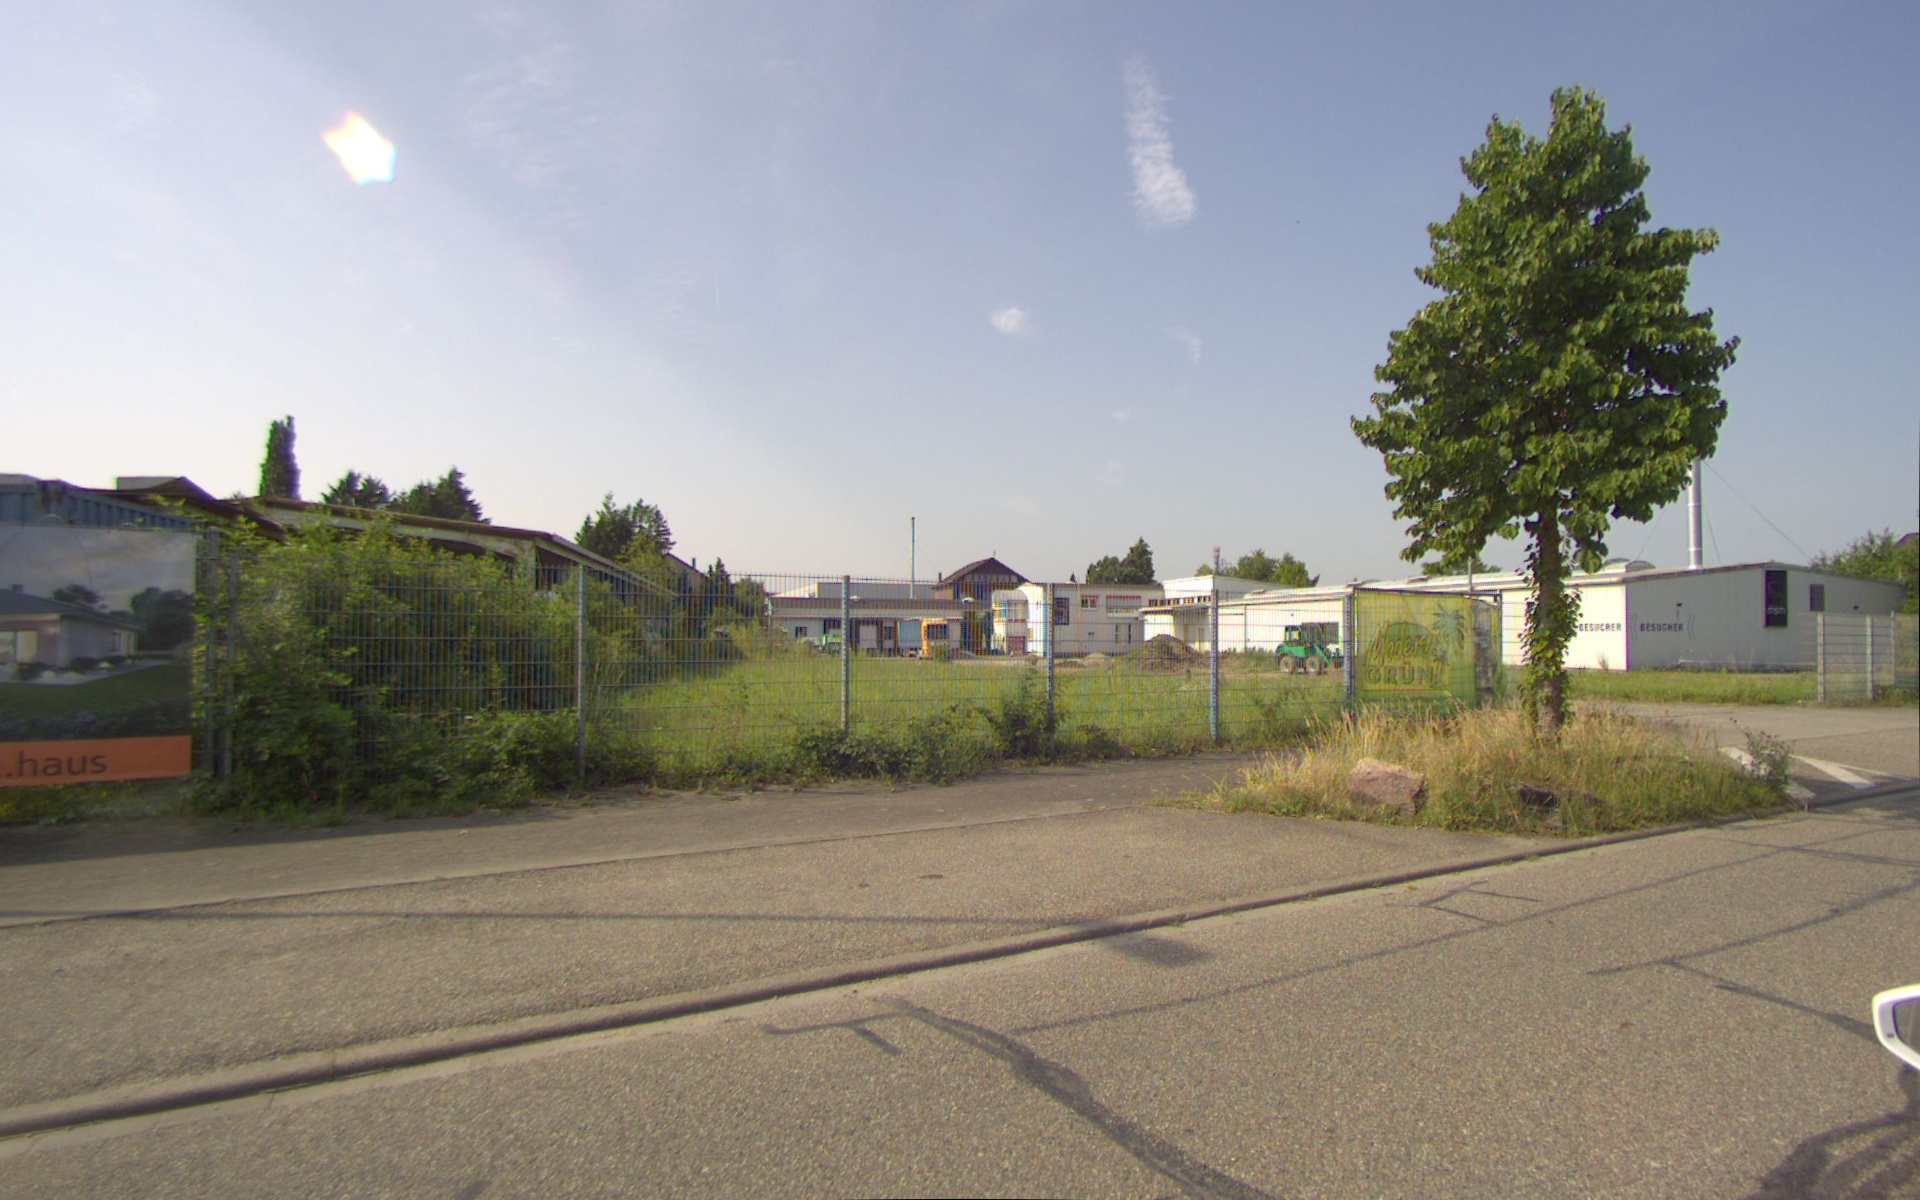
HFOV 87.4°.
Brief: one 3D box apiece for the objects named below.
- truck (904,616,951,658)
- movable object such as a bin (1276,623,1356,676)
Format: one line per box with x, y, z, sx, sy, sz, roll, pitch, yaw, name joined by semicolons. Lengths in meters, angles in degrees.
-3.228;3.652;97.917;2.852;3.937;7.564;1;-2;-16;truck
17.474;2.413;49.576;2.209;2.488;4.305;0;-2;-4;movable object such as a bin
